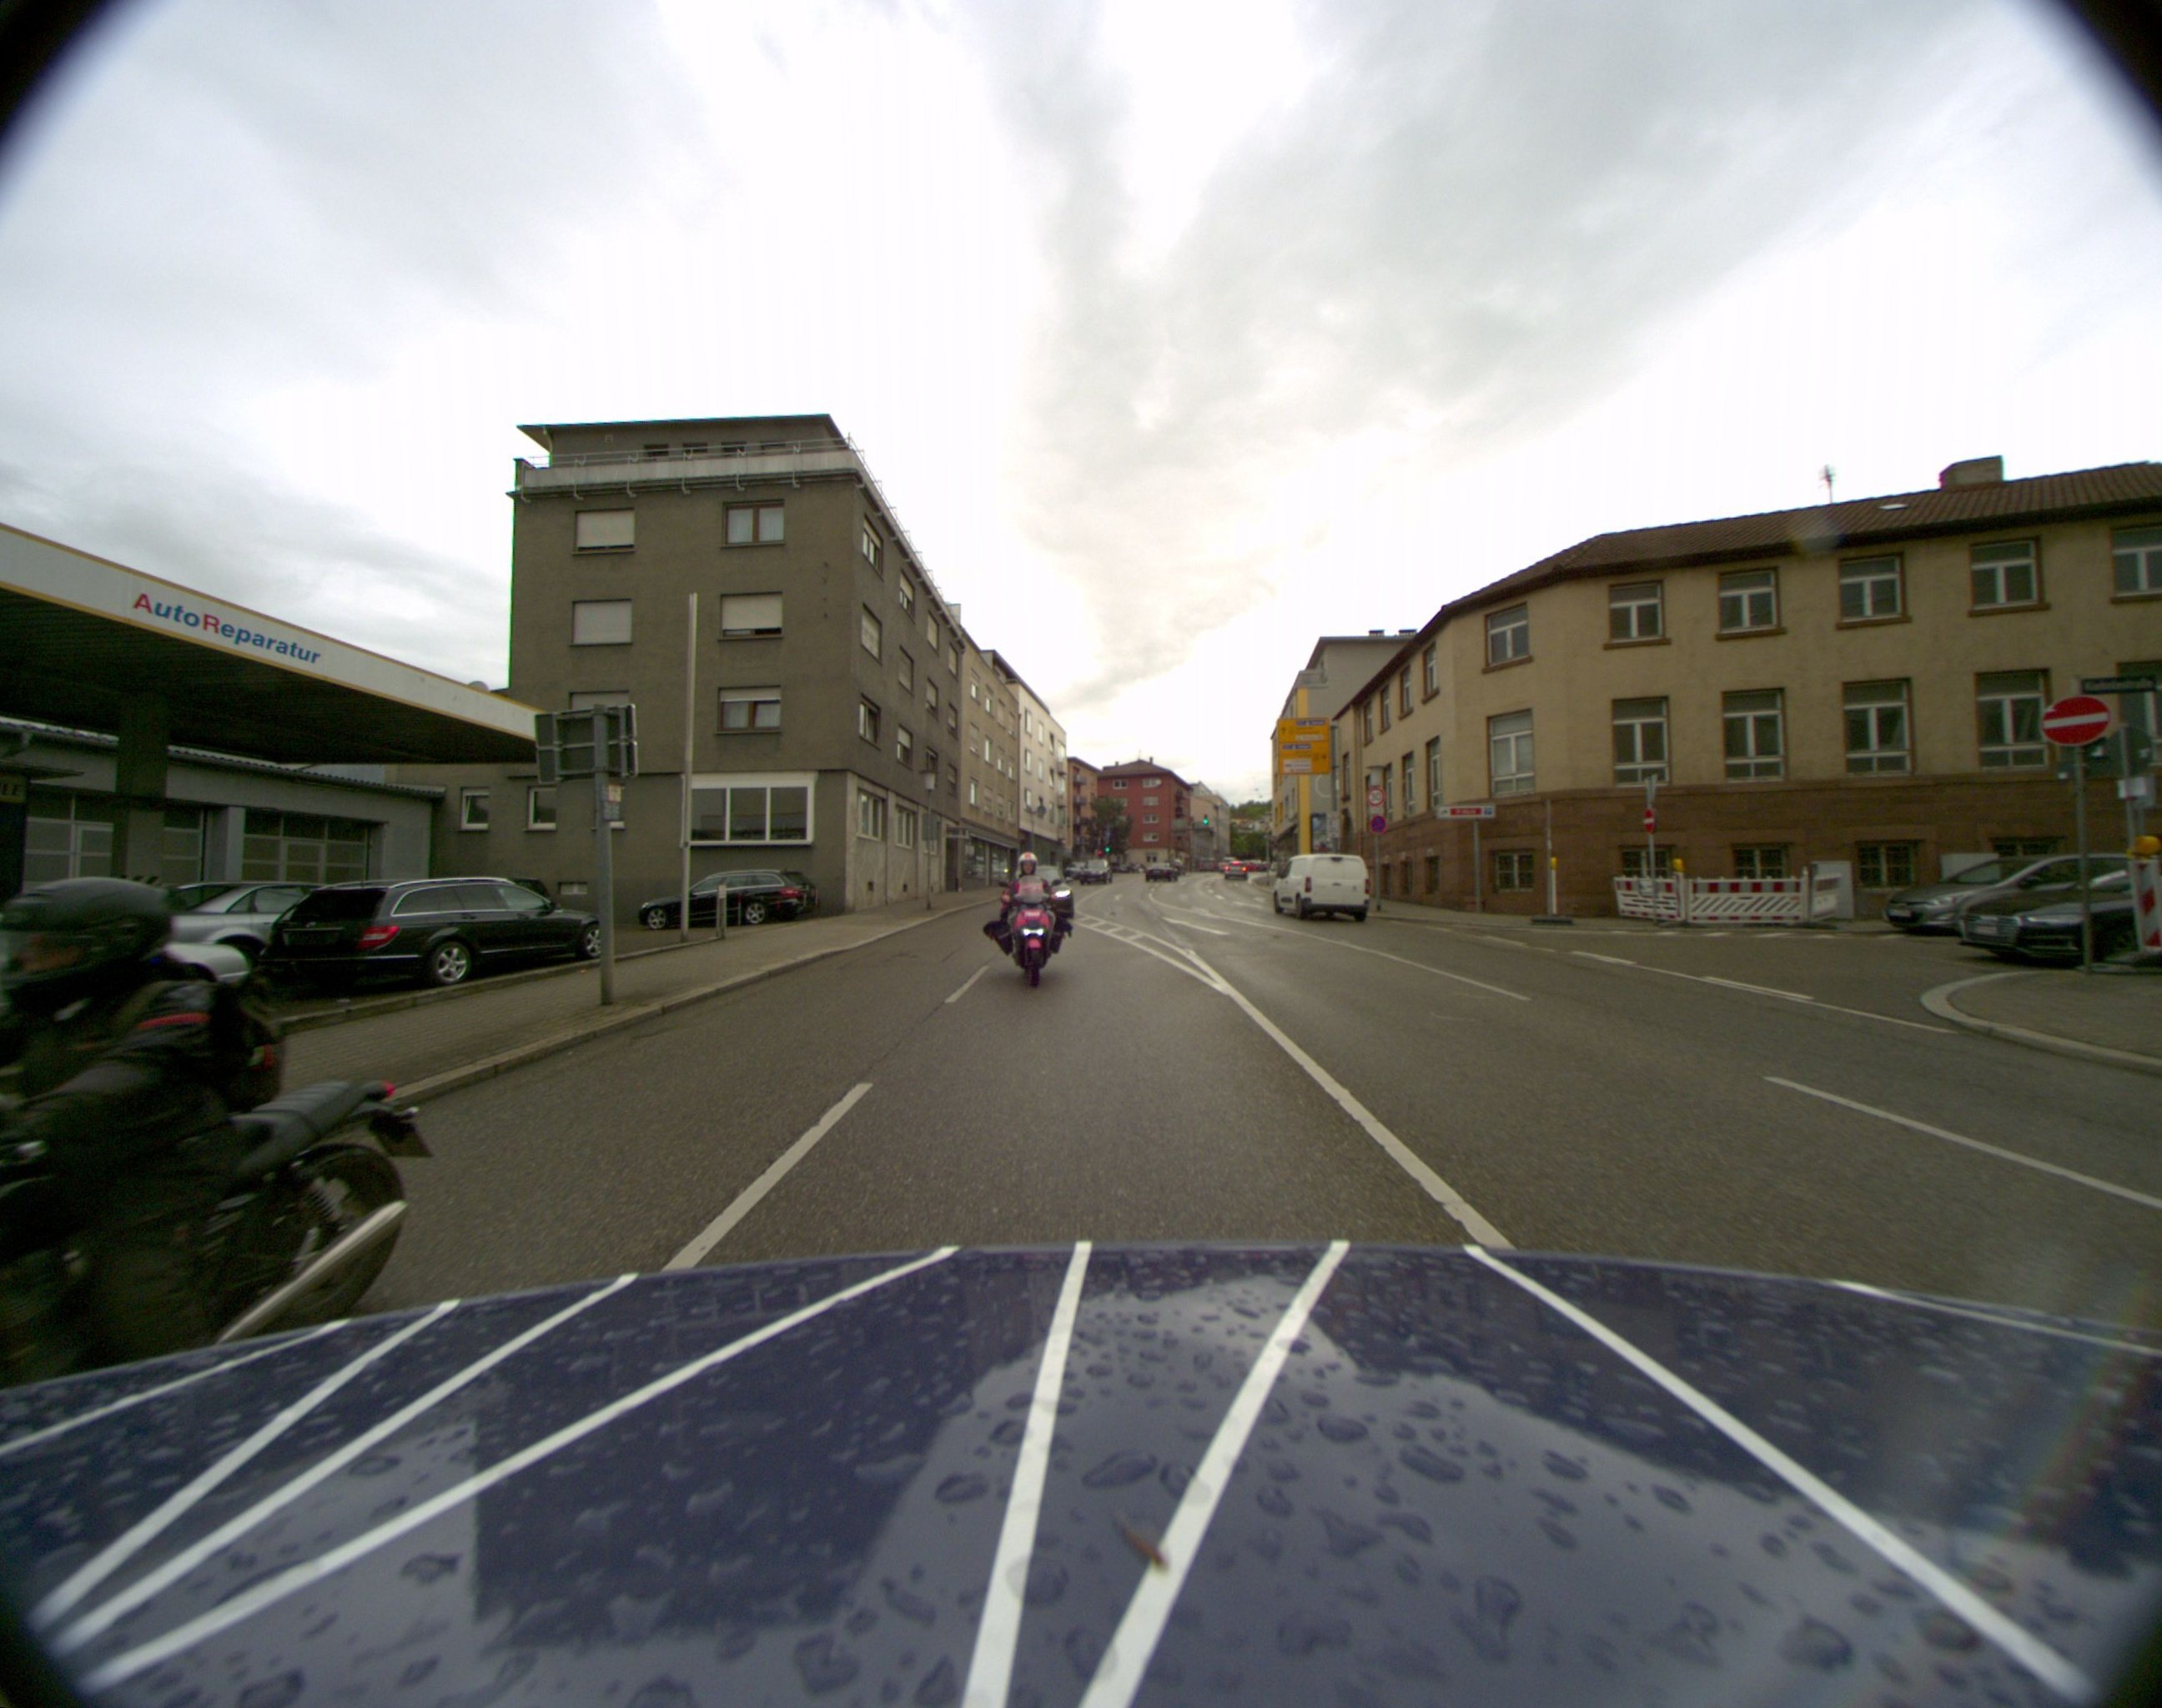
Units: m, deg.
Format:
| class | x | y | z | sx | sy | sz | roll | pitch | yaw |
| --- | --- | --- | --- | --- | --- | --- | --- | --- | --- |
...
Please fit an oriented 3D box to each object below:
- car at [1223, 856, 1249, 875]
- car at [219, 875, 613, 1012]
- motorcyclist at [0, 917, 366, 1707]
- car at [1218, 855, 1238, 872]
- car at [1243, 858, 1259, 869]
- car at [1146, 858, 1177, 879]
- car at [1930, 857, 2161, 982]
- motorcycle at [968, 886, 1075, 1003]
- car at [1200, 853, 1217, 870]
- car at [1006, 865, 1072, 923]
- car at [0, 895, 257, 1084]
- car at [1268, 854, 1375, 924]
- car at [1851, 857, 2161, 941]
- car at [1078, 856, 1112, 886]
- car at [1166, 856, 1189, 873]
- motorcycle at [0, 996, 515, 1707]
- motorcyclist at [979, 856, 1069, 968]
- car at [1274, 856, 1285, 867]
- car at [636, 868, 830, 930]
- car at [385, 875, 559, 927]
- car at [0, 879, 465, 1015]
| class | x | y | z | sx | sy | sz | roll | pitch | yaw |
| --- | --- | --- | --- | --- | --- | --- | --- | --- | --- |
| car | 12.714 | 0.886 | 62.467 | 1.861 | 1.445 | 4.321 | 2 | 0 | 9 |
| car | -9.279 | 1.132 | 11.252 | 1.792 | 1.503 | 4.438 | -1 | 0 | 2 |
| motorcyclist | -2.699 | 1.011 | 1.886 | 0.847 | 1.580 | 0.962 | -3 | 1 | -4 |
| car | 15.191 | 0.948 | 78.794 | 1.861 | 1.688 | 4.321 | 0 | 0 | 9 |
| car | 21.677 | 1.196 | 97.038 | 1.861 | 1.445 | 4.322 | 0 | 0 | 9 |
| car | 5.825 | 0.997 | 54.707 | 1.861 | 1.445 | 4.322 | 0 | 0 | 10 |
| car | 14.633 | 0.802 | 10.036 | 4.358 | 1.495 | 1.755 | -2 | 0 | 12 |
| motorcycle | -0.710 | 1.124 | 10.284 | 1.010 | 1.218 | 2.694 | -3 | 0 | 4 |
| car | 14.744 | 0.832 | 87.444 | 1.847 | 1.892 | 3.768 | -1 | 0 | 10 |
| car | -1.150 | 1.093 | 22.465 | 1.706 | 1.451 | 4.318 | -3 | 0 | -1 |
| car | -9.634 | 1.141 | 5.662 | 1.792 | 1.407 | 4.617 | 0 | 0 | 4 |
| car | 6.762 | 0.910 | 21.862 | 1.866 | 1.793 | 4.266 | 1 | 0 | 2 |
| car | 17.684 | 0.863 | 14.479 | 3.806 | 1.457 | 1.756 | -2 | -3 | 15 |
| car | 1.010 | 1.138 | 52.609 | 1.847 | 1.892 | 3.767 | -3 | 0 | 8 |
| car | 8.804 | 0.939 | 69.109 | 1.861 | 1.445 | 4.322 | 0 | 0 | 10 |
| motorcycle | -2.688 | 1.206 | 1.872 | 0.847 | 1.218 | 2.372 | -3 | 0 | -3 |
| motorcyclist | -0.732 | 0.741 | 10.075 | 1.010 | 1.373 | 0.835 | -3 | 0 | 3 |
| car | 35.699 | 1.286 | 136.979 | 1.846 | 1.892 | 3.769 | -1 | 0 | 13 |
| car | -9.734 | 1.241 | 21.460 | 4.531 | 1.495 | 2.001 | -2 | 0 | 5 |
| car | -17.974 | 1.362 | 22.542 | 3.751 | 1.445 | 1.795 | 0 | -2 | 4 |
| car | -11.945 | 1.175 | 11.281 | 1.792 | 1.502 | 4.421 | 3 | -1 | 2 |
